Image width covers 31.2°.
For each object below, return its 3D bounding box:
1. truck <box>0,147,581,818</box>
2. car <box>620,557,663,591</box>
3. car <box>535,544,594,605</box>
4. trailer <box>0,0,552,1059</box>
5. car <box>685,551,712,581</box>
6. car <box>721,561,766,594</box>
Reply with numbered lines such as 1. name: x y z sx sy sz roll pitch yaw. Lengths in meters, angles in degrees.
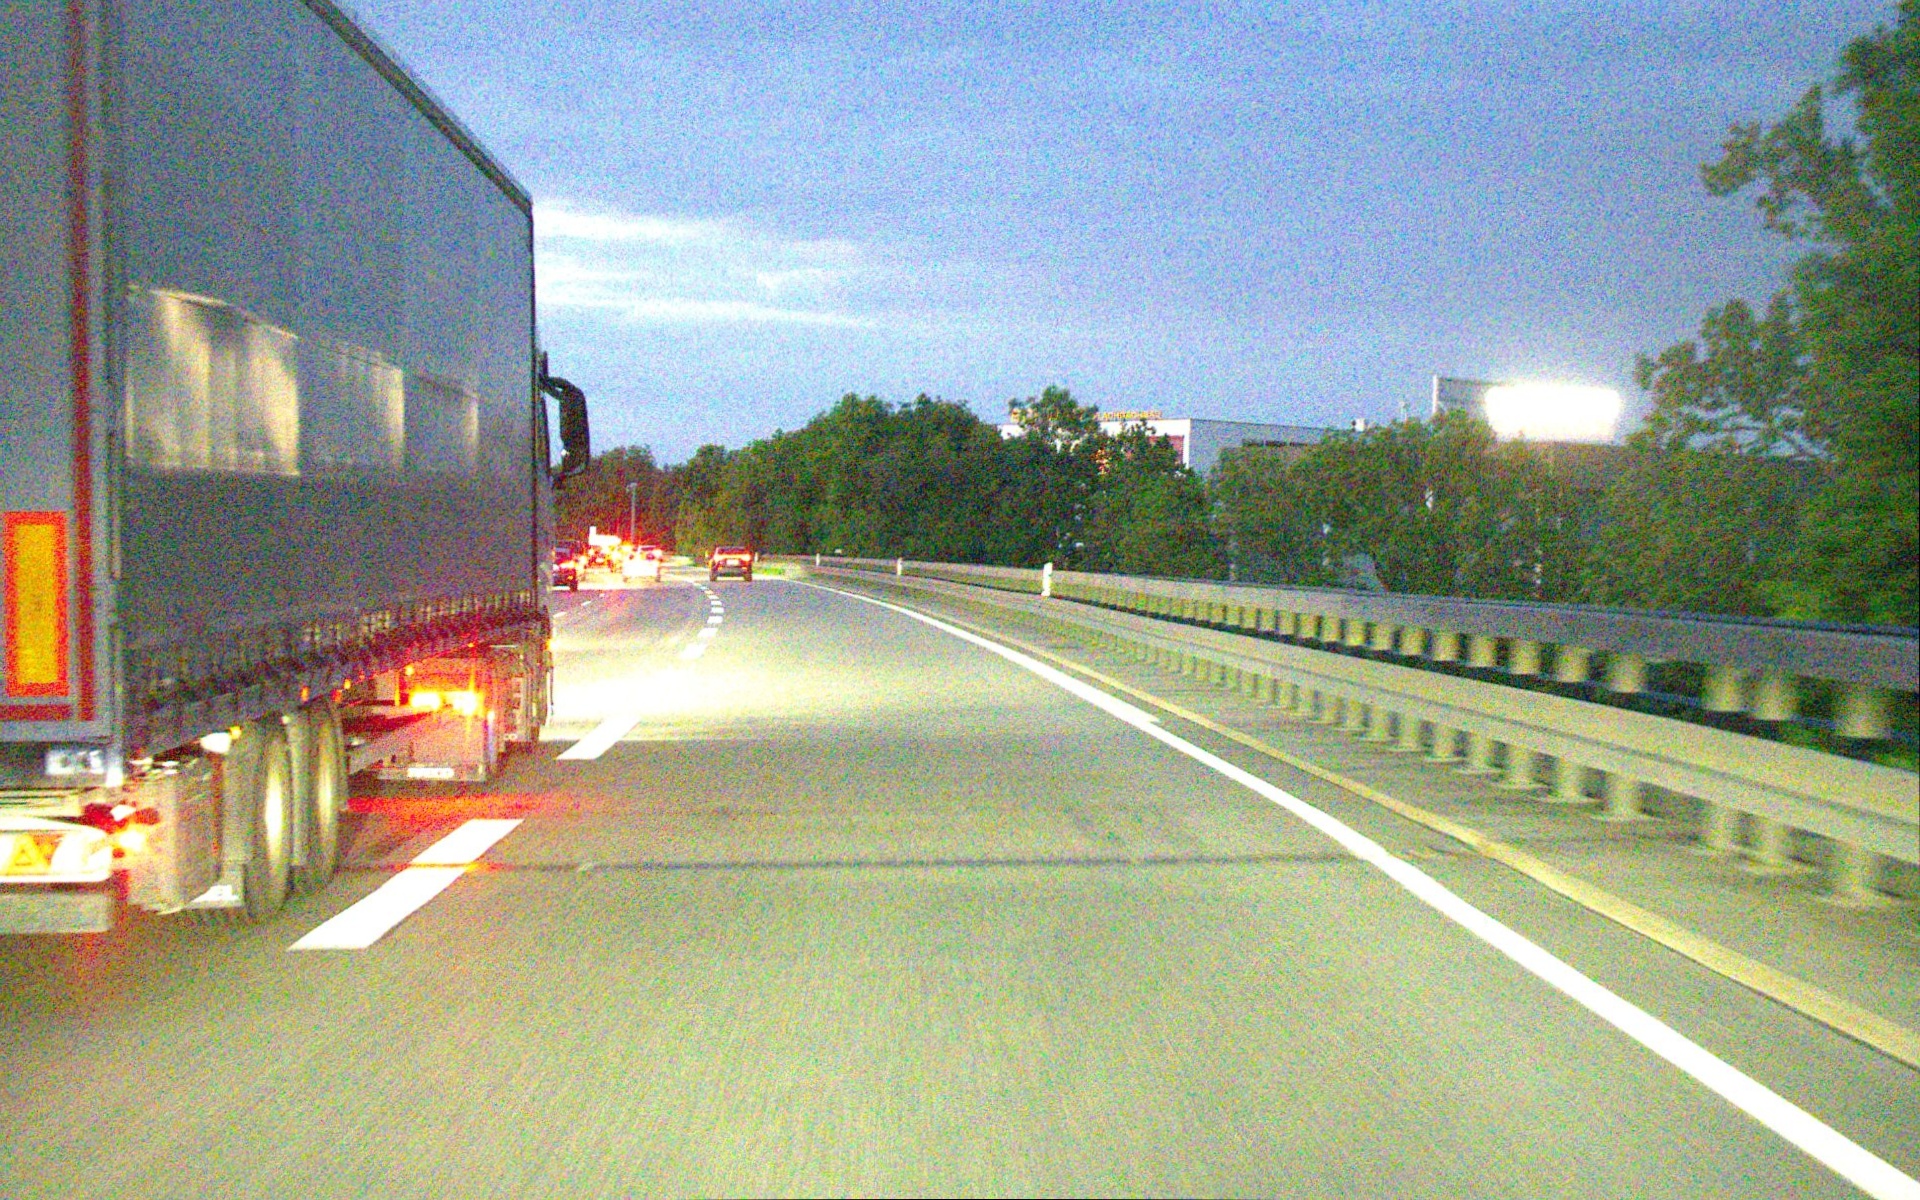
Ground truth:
1. truck: -4.692 -0.700 24.010 3.550 4.077 6.151 0 0 -1
2. car: -14.542 -1.196 157.179 1.884 1.350 4.000 1 -2 -4
3. car: -14.691 -0.934 127.948 1.993 2.073 4.000 1 -2 -4
4. trailer: -4.481 -0.718 17.162 3.550 4.102 15.063 0 0 -2
5. car: -19.644 -2.566 258.455 1.993 2.007 4.000 1 -2 -4
6. car: -10.017 -1.036 158.830 1.993 1.350 4.000 1 -2 -4
